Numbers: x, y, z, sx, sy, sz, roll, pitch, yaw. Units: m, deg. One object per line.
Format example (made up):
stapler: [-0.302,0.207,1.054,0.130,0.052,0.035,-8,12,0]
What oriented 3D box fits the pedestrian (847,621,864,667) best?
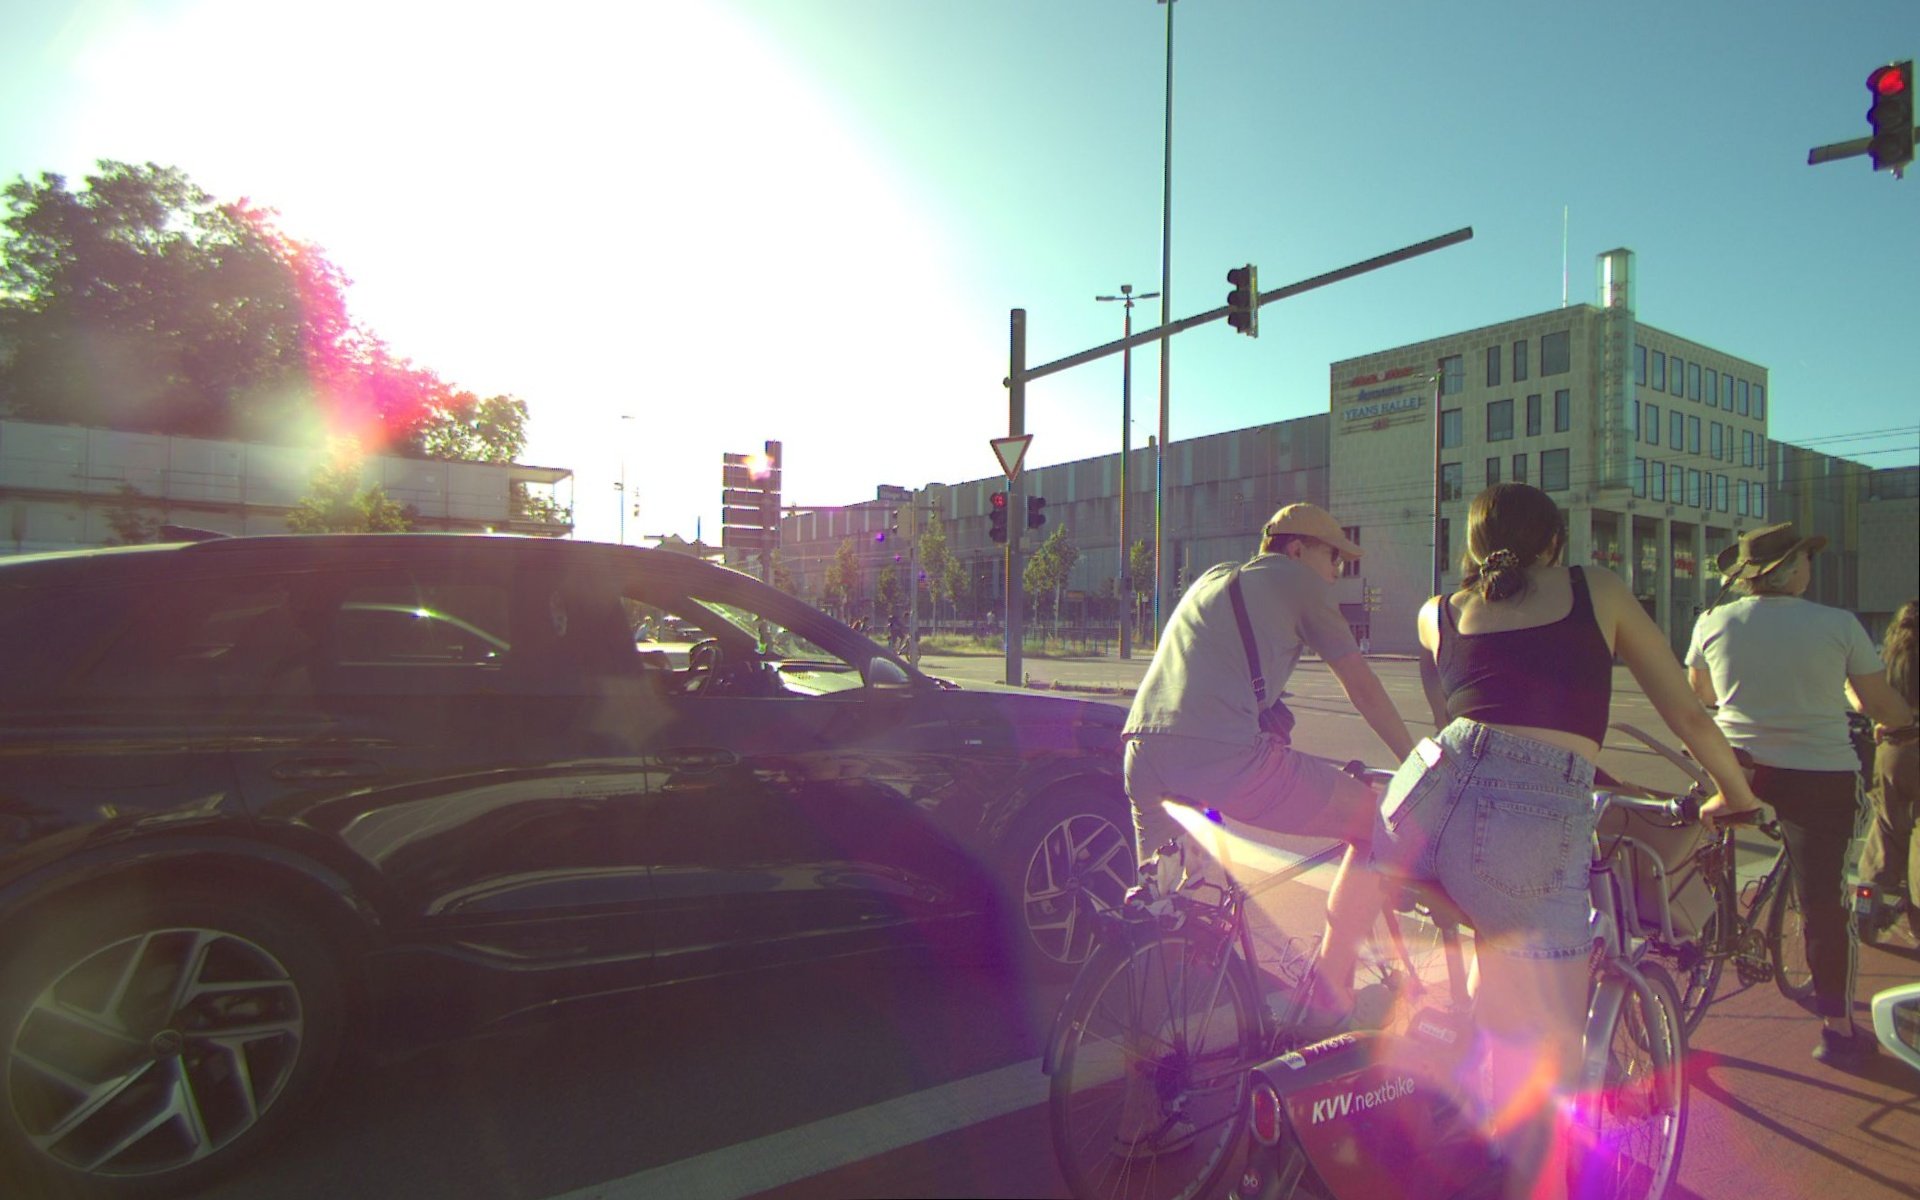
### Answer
pedestrian: [-3.657,1.523,35.143,0.446,1.587,0.516,1,-1,-30]

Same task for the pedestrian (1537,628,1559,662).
pedestrian: [36.492,2.787,62.308,1.016,2.040,0.906,2,-1,-42]

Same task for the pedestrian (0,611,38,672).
pedestrian: [-23.185,1.004,24.668,0.646,1.472,0.599,1,-1,-30]

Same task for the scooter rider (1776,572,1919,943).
scooter rider: [4.429,0.675,4.694,1.105,1.564,0.638,1,0,-33]

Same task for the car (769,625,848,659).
car: [-6.821,1.842,44.934,1.980,1.394,3.962,0,-1,-34]

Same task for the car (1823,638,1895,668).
car: [49.846,2.904,55.683,4.247,1.602,1.927,1,-2,-32]

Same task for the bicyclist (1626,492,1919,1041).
bicyclist: [2.964,0.525,3.609,0.777,1.691,0.695,1,-1,-32]

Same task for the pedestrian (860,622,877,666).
pedestrian: [-3.295,1.582,36.236,0.446,1.587,0.516,1,-1,-30]

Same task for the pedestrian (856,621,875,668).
pedestrian: [-3.255,1.530,34.614,0.446,1.587,0.516,1,-1,-30]

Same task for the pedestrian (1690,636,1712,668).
pedestrian: [40.885,2.876,55.445,0.748,1.763,0.746,1,-1,-32]

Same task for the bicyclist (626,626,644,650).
bicyclist: [-18.195,2.126,56.158,0.797,1.315,0.770,0,0,-32]

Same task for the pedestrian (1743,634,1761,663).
pedestrian: [55.822,3.440,70.793,0.933,2.008,1.004,0,-1,36]

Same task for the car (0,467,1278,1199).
car: [-1.151,0.608,4.100,4.740,1.684,2.182,1,-1,-33]

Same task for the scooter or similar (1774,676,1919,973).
scooter or similar: [4.570,0.992,4.794,1.468,1.191,0.638,1,0,-33]

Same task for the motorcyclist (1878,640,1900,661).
motorcyclist: [67.625,3.666,73.135,0.908,1.490,1.029,2,0,-37]

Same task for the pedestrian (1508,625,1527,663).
pedestrian: [32.498,2.555,58.587,0.881,2.152,0.946,0,-1,23]

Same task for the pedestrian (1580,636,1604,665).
pedestrian: [35.502,2.830,56.472,0.927,1.592,0.842,1,-1,15]

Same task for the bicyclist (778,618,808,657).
bicyclist: [-6.006,1.345,36.141,0.831,1.375,0.799,0,0,-29]

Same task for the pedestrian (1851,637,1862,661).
pedestrian: [79.946,4.371,89.563,0.475,2.040,0.610,2,0,-44]

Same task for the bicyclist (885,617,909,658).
bicyclist: [-2.367,1.393,37.679,0.611,1.525,0.749,1,-1,-33]

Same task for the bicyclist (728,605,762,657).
bicyclist: [-6.609,0.939,30.883,0.927,1.565,0.646,0,-1,-20]

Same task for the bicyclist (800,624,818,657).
bicyclist: [-5.959,1.578,39.532,0.627,1.287,0.803,0,0,-14]

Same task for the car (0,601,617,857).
car: [-4.799,0.729,6.712,4.475,1.370,1.761,2,-1,-32]

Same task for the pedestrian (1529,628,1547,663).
pedestrian: [34.378,2.699,59.754,0.901,2.040,1.022,0,-1,30]

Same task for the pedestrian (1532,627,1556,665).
pedestrian: [33.744,2.626,58.047,1.042,2.157,1.098,1,-1,20]

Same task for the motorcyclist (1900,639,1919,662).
motorcyclist: [70.727,3.739,74.639,0.908,1.596,1.129,2,0,-37]

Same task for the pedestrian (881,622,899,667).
pedestrian: [-2.483,1.562,35.660,0.446,1.587,0.516,1,-1,-30]

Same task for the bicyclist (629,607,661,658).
bicyclist: [-8.949,0.918,28.549,0.829,1.420,0.803,0,0,-16]

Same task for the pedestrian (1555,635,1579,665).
pedestrian: [35.373,2.895,58.548,0.988,1.672,0.948,1,-1,20]

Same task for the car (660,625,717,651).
car: [-15.563,2.153,57.448,1.980,1.394,3.962,0,-1,-34]

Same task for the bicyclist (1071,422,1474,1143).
bicyclist: [0.845,0.415,2.728,0.884,1.596,0.620,1,-1,-31]

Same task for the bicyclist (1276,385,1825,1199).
bicyclist: [1.192,0.459,2.058,0.837,1.563,0.647,1,-1,-31]
